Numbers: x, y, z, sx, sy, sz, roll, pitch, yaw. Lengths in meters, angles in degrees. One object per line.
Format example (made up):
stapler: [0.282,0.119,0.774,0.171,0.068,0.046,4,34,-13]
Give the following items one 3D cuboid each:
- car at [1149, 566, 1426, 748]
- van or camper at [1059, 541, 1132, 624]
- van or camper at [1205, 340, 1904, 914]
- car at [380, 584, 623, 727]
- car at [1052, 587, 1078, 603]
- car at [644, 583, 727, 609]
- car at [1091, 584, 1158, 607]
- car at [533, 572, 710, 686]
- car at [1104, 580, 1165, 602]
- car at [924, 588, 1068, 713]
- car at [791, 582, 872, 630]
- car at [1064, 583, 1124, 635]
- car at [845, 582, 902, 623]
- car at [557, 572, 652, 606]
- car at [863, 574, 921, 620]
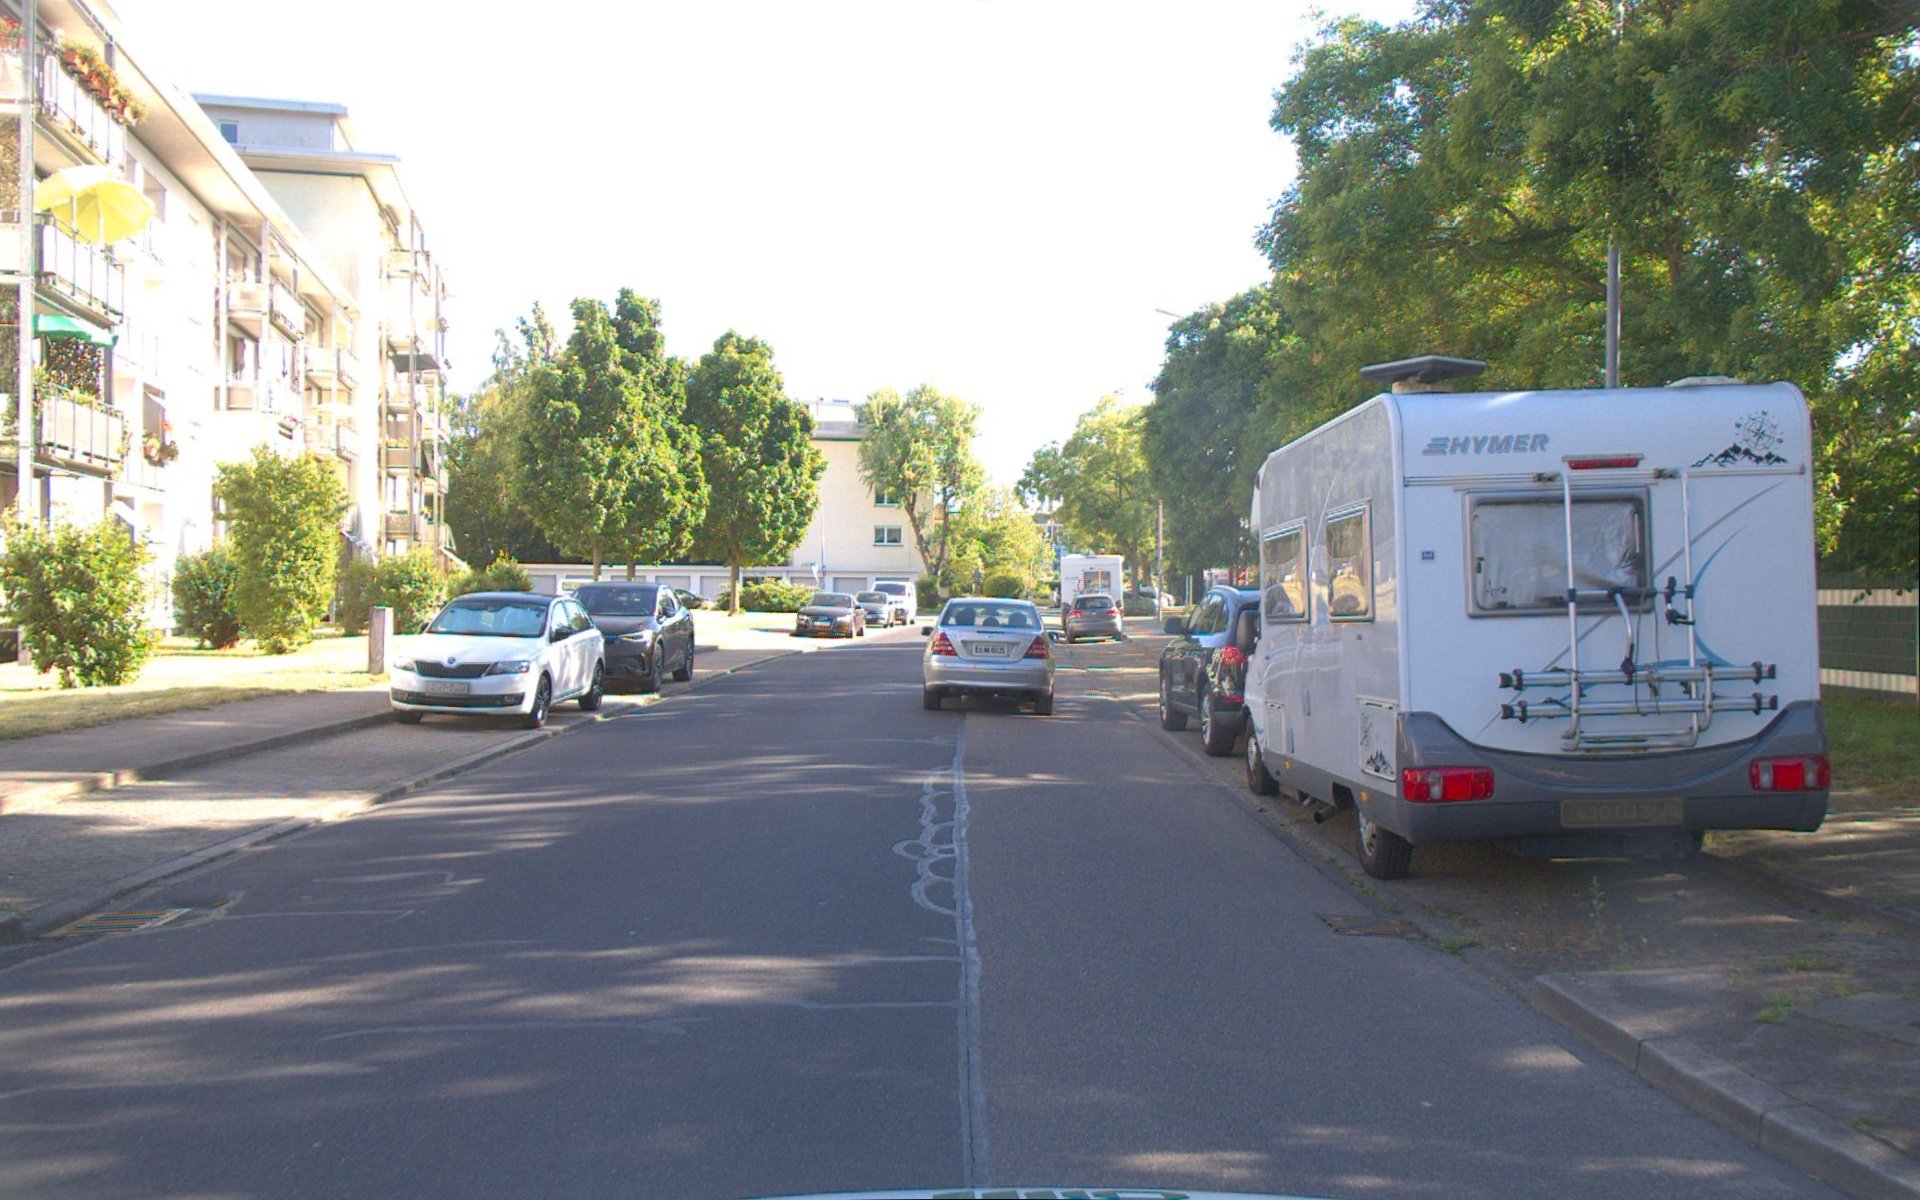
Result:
car: [3.369,0.513,17.957,1.953,1.669,4.535,-2,1,-2]
van or camper: [4.945,-0.652,61.258,2.444,2.895,6.854,0,1,3]
van or camper: [3.336,0.093,11.160,2.303,2.641,6.426,-3,1,0]
car: [-5.345,0.569,19.837,1.612,1.492,4.331,1,1,1]
car: [10.114,-0.482,159.111,1.872,1.516,3.840,-2,0,11]
car: [-16.040,-0.238,96.875,4.347,1.486,2.045,0,0,10]
car: [11.530,-0.314,115.970,4.681,1.576,2.013,0,0,6]
car: [-5.269,0.407,26.354,1.875,1.632,4.811,0,0,-1]
car: [14.095,-0.720,133.333,4.780,1.754,2.002,-1,0,9]
car: [0.440,0.615,21.713,1.697,1.459,3.438,2,0,0]
car: [-4.197,0.169,54.678,1.992,1.519,5.258,0,1,3]
car: [4.339,0.261,54.169,1.685,1.551,4.430,-3,1,2]
car: [-3.517,0.088,67.955,1.795,1.544,4.224,2,0,4]
car: [-20.999,-0.650,97.817,4.996,1.985,2.239,0,0,11]
car: [-3.013,-0.149,74.436,1.972,1.918,5.193,2,0,4]
